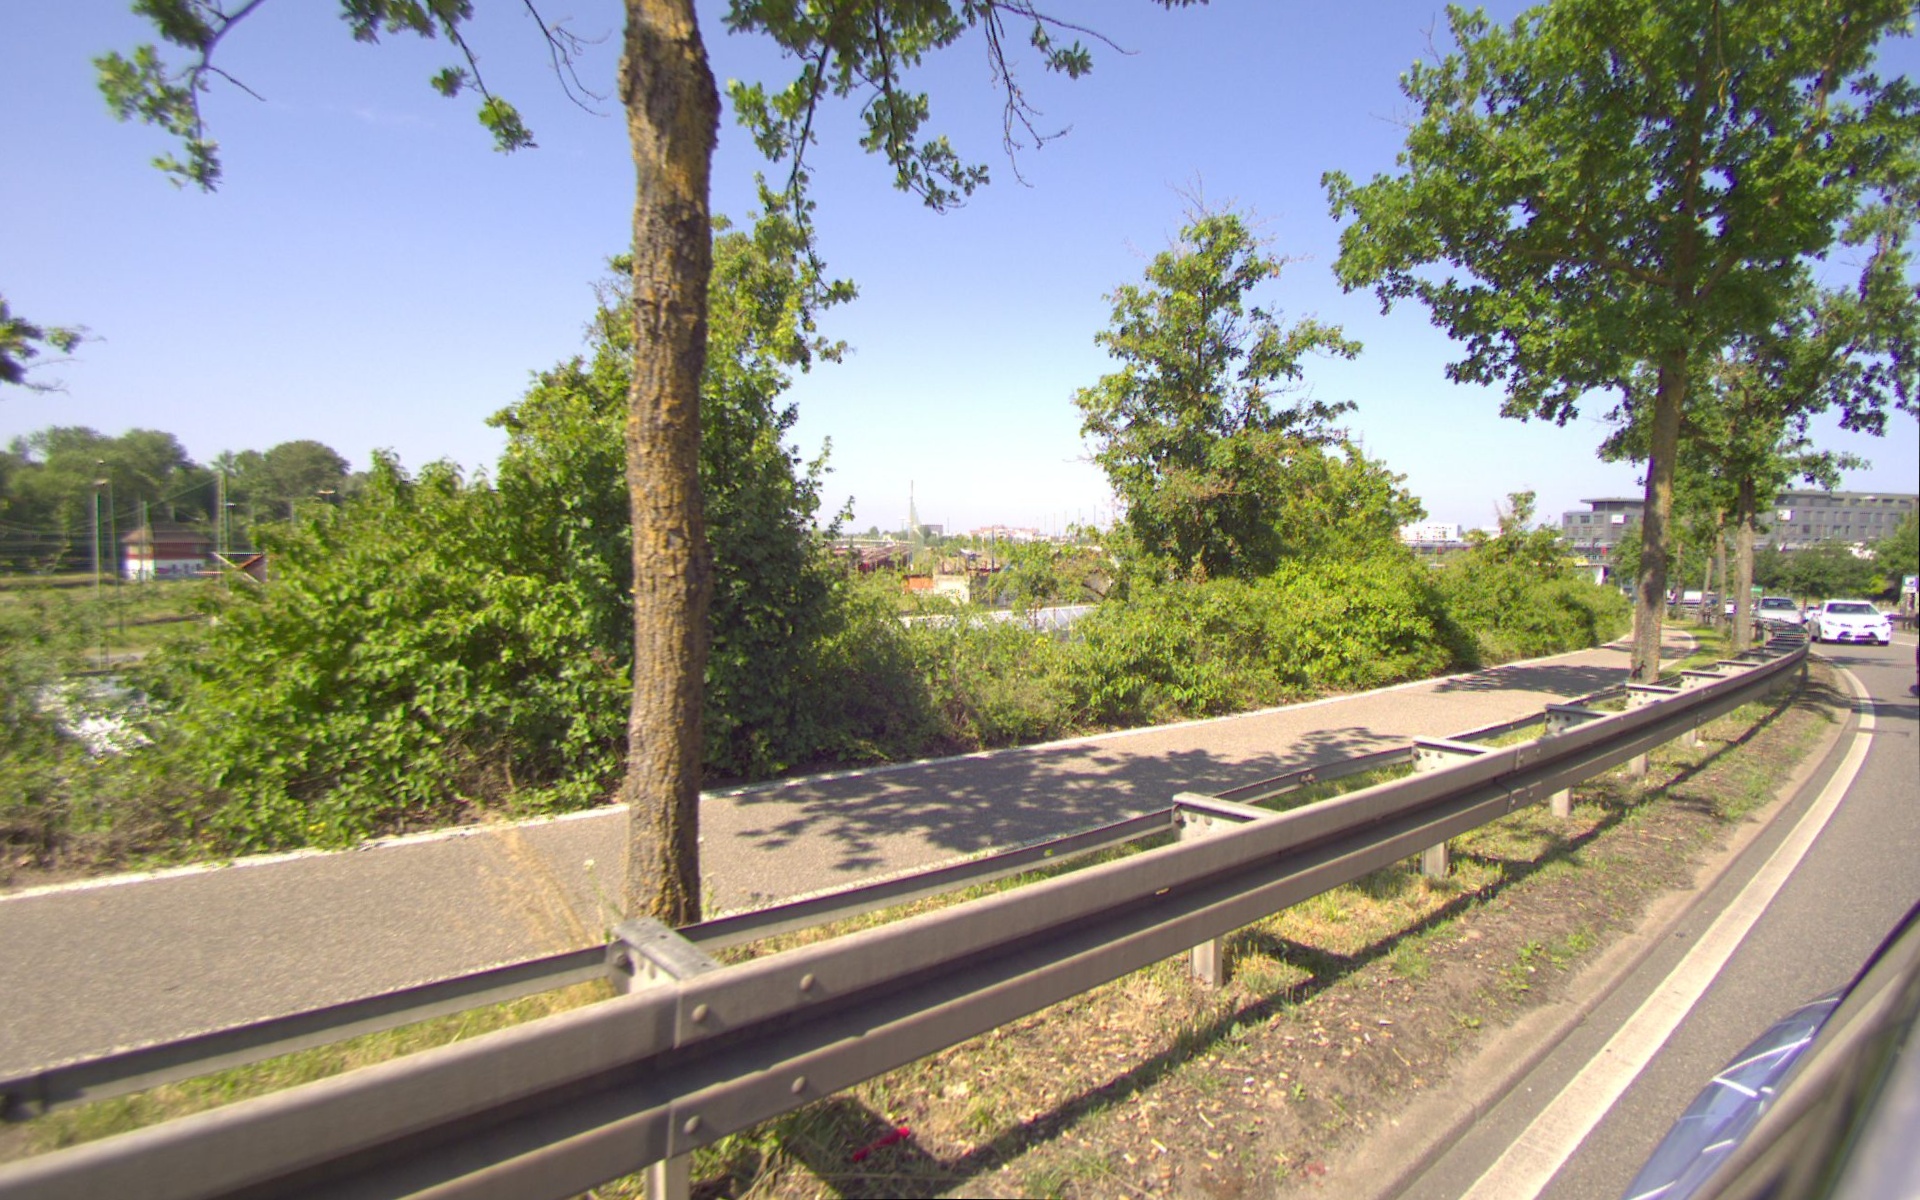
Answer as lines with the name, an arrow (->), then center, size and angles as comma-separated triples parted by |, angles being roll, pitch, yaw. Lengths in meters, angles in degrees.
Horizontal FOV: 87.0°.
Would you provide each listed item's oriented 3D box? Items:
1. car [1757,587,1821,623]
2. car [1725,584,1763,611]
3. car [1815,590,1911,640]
car -> 38.764, 0.208, 47.396 | 1.987, 1.605, 3.950 | 1, 1, 35
car -> 53.896, -0.172, 69.568 | 1.990, 1.790, 3.945 | 0, 1, 38
car -> 30.039, 0.453, 33.785 | 1.835, 1.507, 4.101 | 1, 1, 34
